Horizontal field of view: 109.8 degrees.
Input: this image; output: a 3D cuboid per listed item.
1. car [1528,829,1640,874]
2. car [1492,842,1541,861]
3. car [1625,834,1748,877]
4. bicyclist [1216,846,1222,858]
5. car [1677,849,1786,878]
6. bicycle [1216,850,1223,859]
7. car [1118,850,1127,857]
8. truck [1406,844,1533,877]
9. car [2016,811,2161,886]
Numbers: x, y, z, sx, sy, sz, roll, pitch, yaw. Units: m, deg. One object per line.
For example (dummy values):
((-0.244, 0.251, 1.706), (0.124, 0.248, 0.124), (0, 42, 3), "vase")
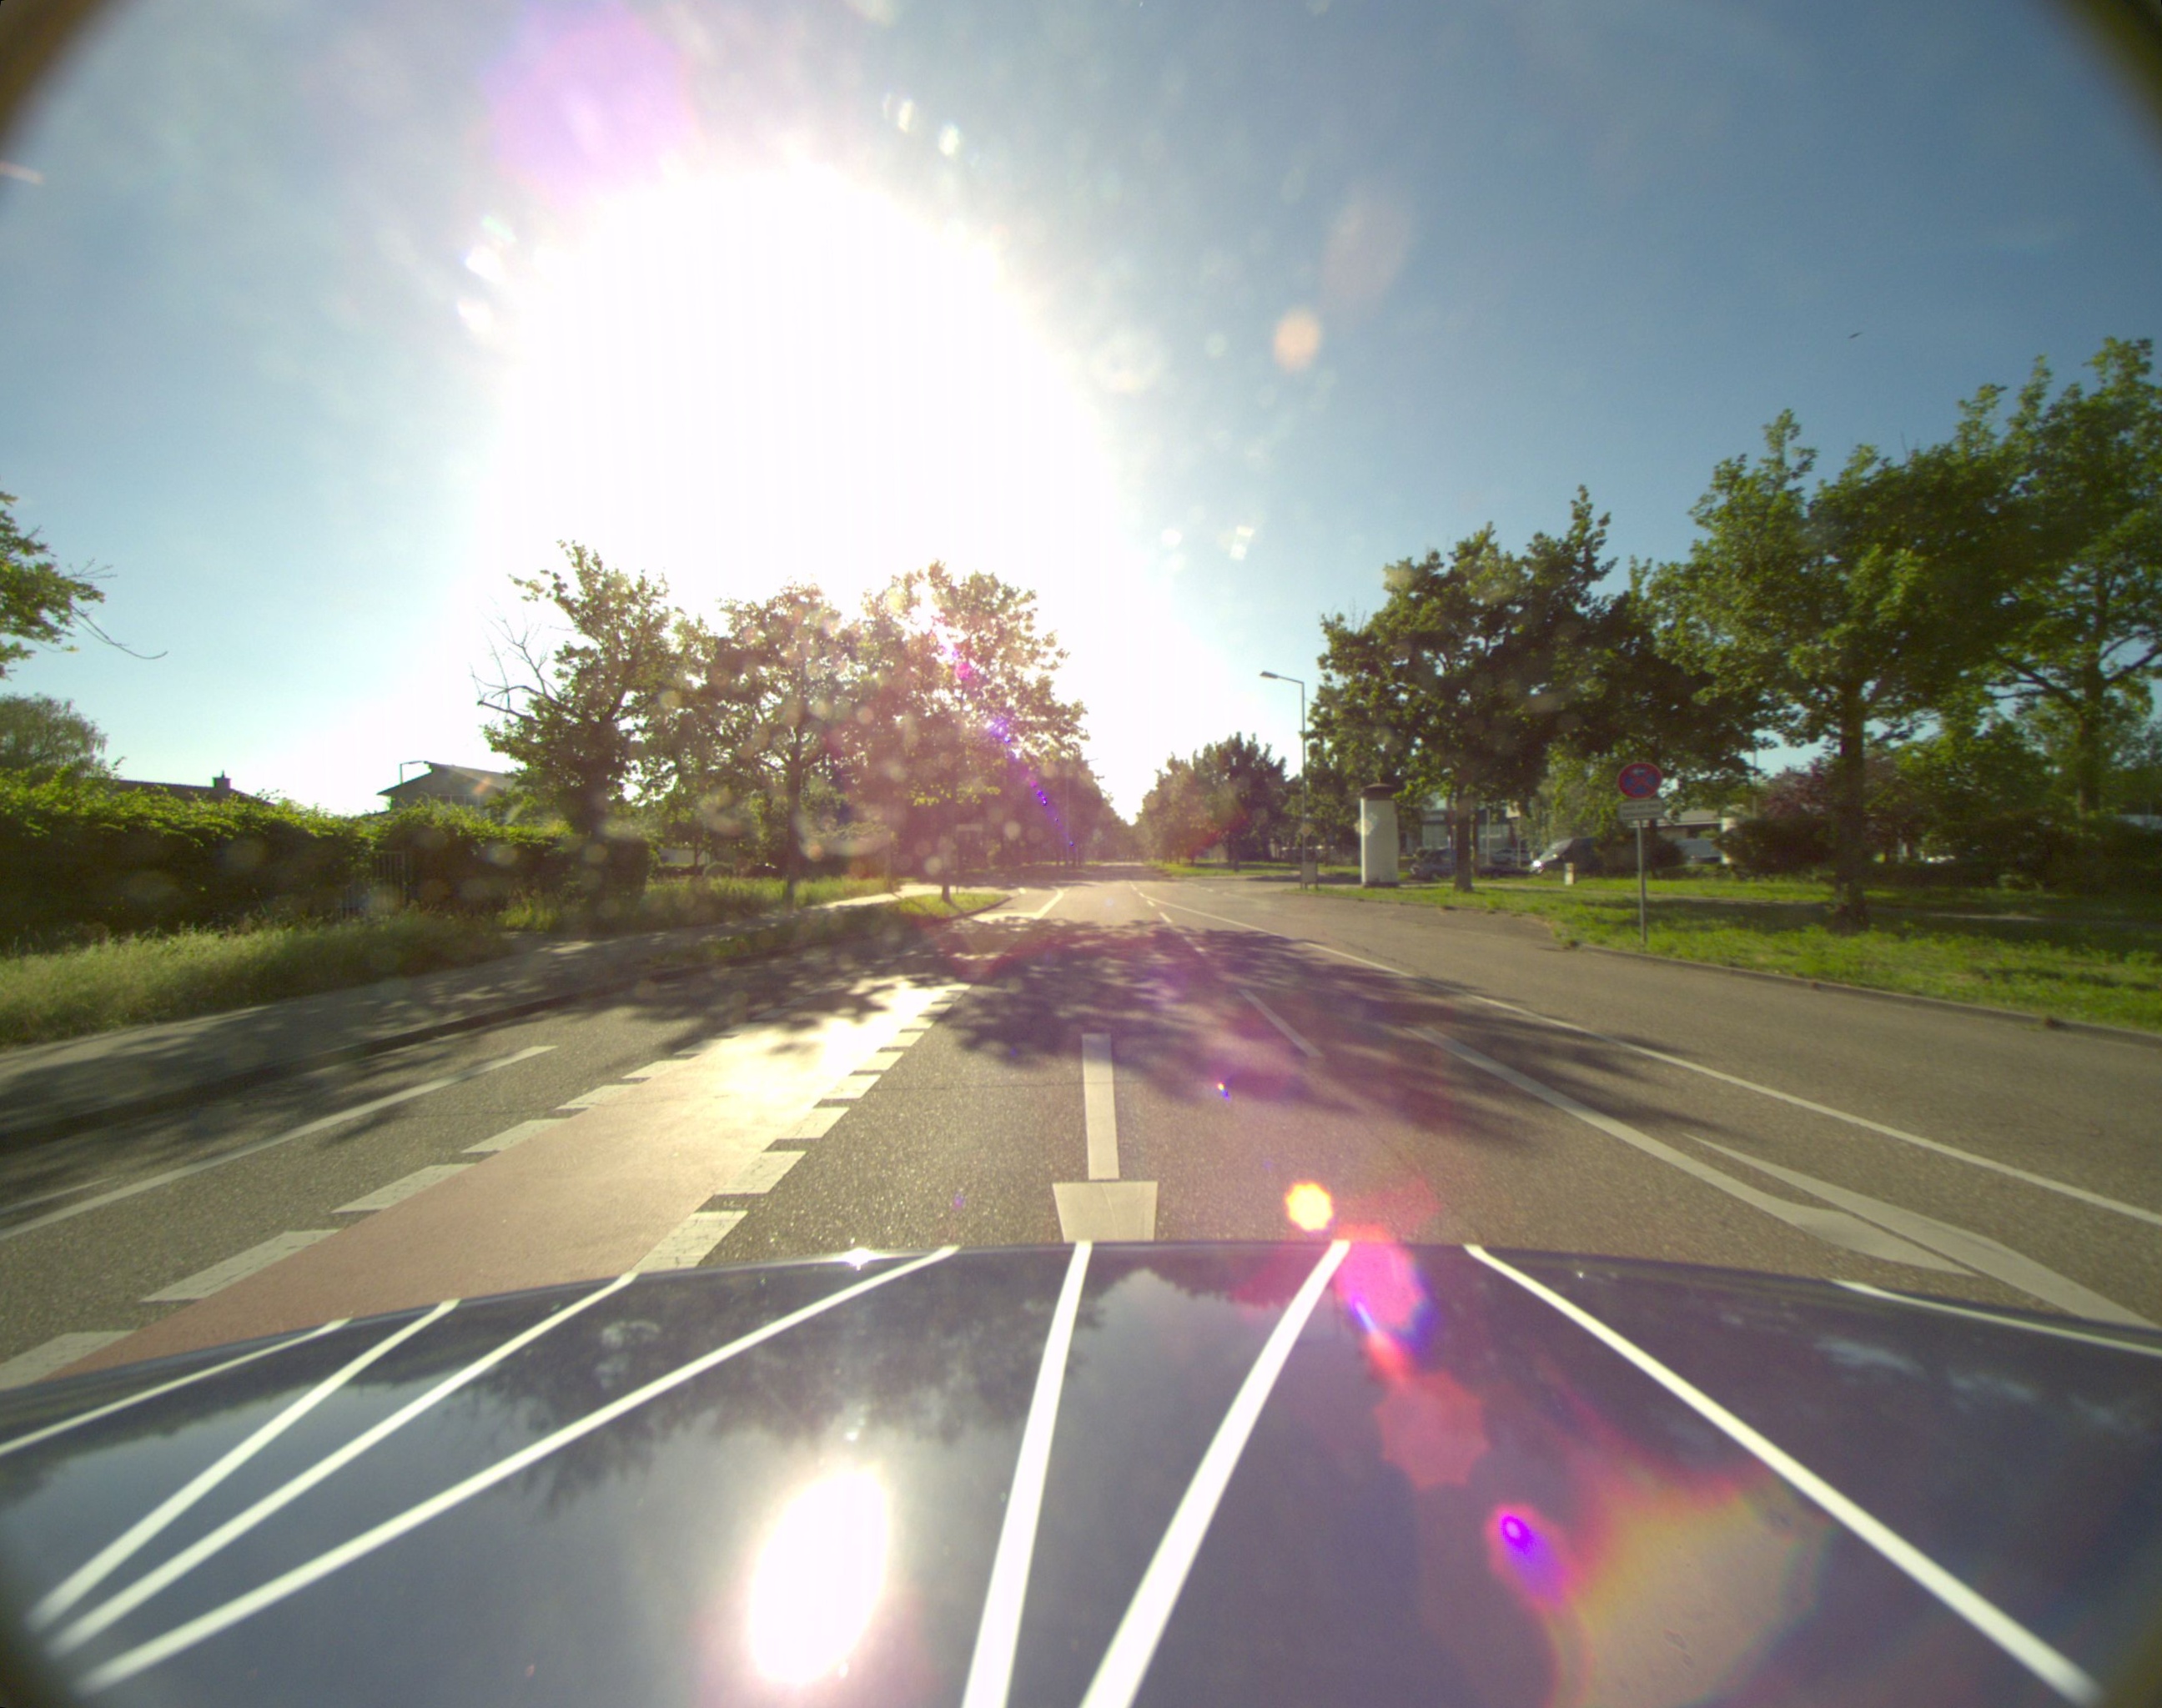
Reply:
((32.620, -0.179, 49.376), (5.878, 2.687, 2.300), (-2, 1, -3), "car")
((39.456, -0.216, 68.914), (1.999, 1.486, 4.296), (-2, 3, 0), "car")
((39.705, 0.068, 49.904), (6.356, 2.501, 2.300), (-2, 1, -3), "car")
((18.633, -0.226, 102.615), (0.665, 1.619, 0.659), (-2, 1, 3), "bicyclist")
((33.717, 0.492, 39.430), (4.202, 1.472, 1.824), (0, -1, -3), "car")
((18.717, 0.073, 102.687), (0.552, 1.155, 2.334), (-2, 1, 3), "bicycle")
((9.382, -0.030, 171.744), (1.827, 1.477, 3.999), (-2, 1, 1), "car")
((24.955, 0.419, 48.997), (7.130, 2.038, 2.140), (0, 1, -2), "truck")
((41.120, -0.287, 29.866), (6.176, 2.687, 2.300), (-2, 1, -3), "car")
